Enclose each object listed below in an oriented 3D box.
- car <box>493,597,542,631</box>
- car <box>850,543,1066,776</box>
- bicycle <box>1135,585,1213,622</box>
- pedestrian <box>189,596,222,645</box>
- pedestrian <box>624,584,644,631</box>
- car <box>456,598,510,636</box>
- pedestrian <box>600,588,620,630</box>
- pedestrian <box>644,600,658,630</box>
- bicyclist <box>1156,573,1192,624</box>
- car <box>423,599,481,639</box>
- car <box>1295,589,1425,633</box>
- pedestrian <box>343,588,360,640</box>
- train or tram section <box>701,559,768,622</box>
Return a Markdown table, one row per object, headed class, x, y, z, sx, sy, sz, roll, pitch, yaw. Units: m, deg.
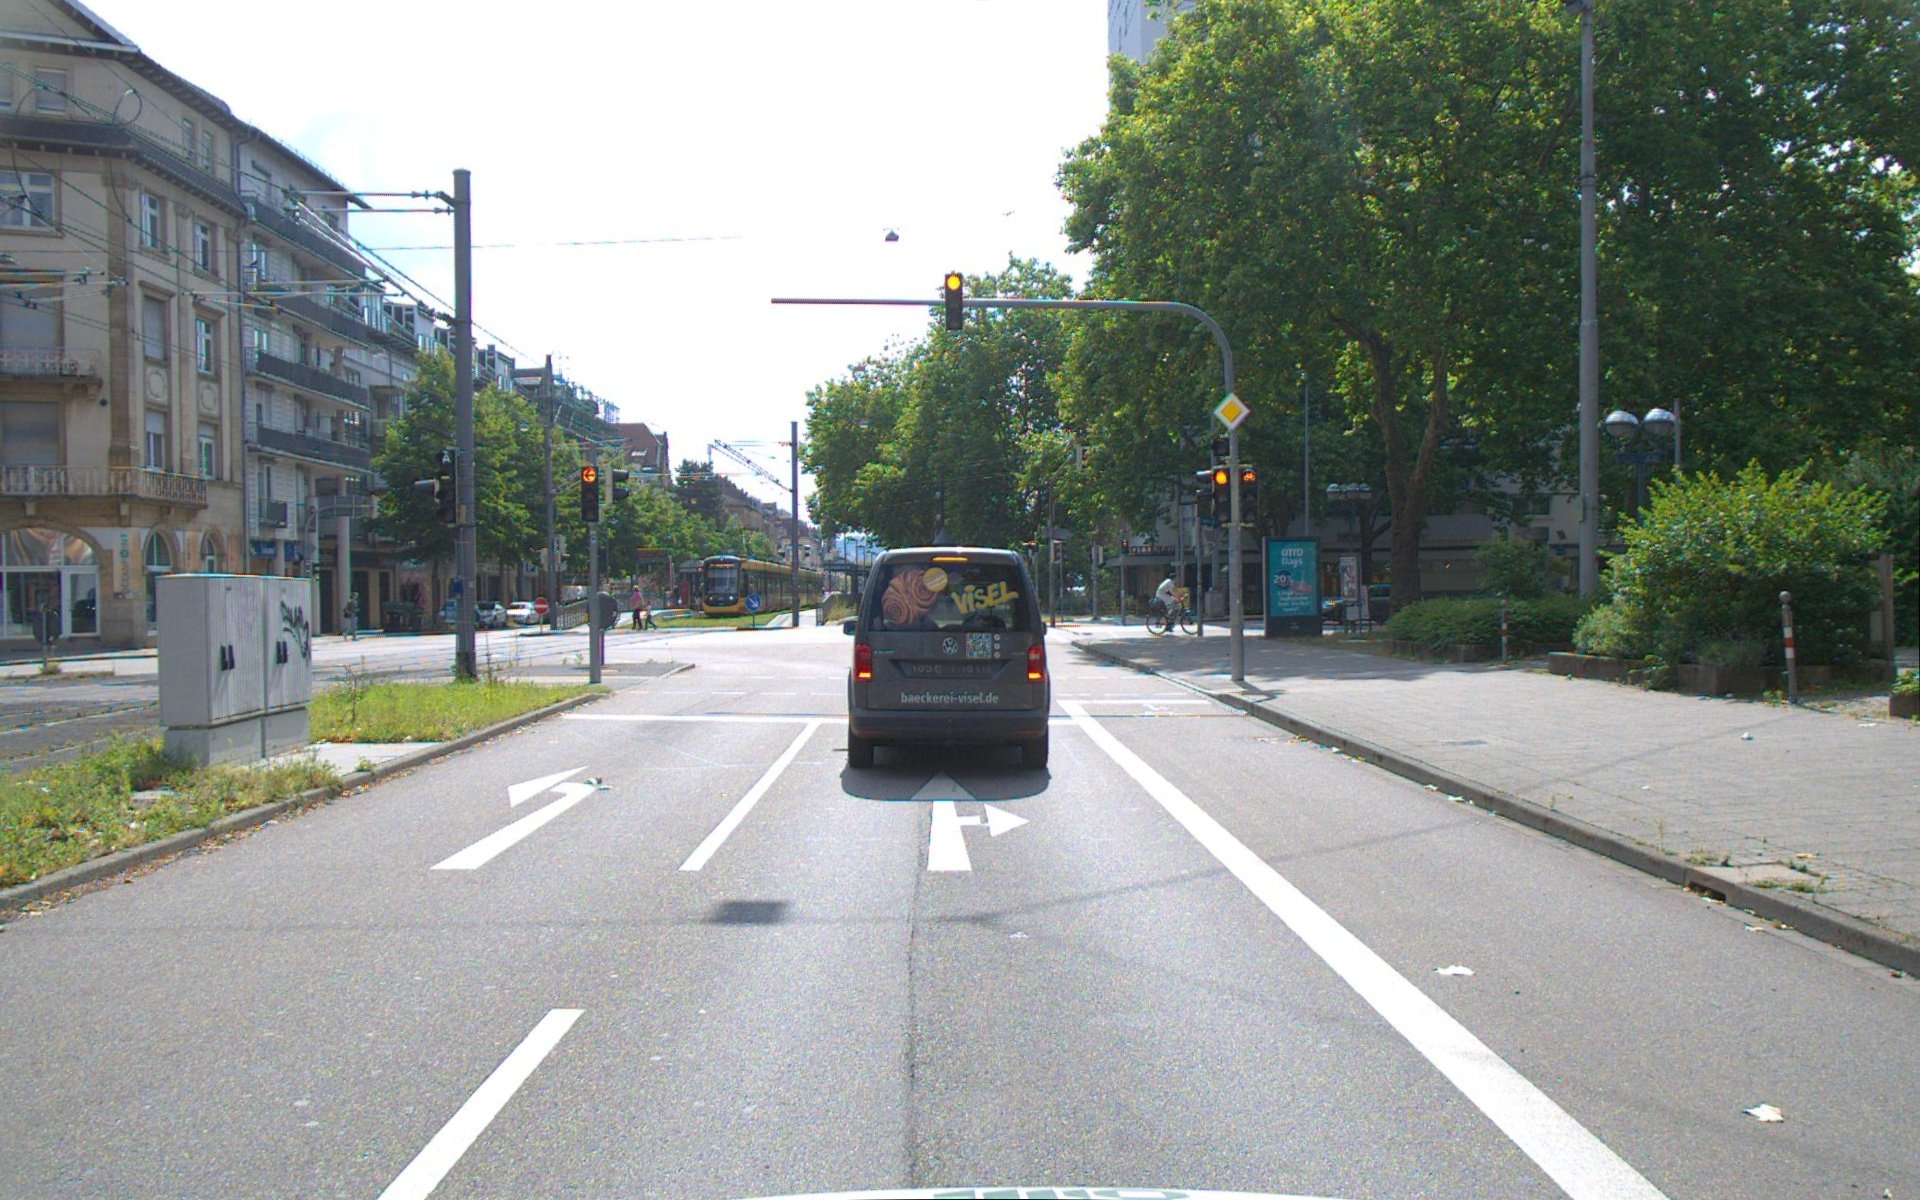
| class | x | y | z | sx | sy | sz | roll | pitch | yaw |
| --- | --- | --- | --- | --- | --- | --- | --- | --- | --- |
| car | -27.659 | 0.865 | 103.464 | 1.953 | 2.049 | 3.999 | -1 | 0 | -1 |
| car | -0.032 | 0.458 | 14.888 | 1.715 | 1.840 | 3.474 | 0 | 0 | -1 |
| bicycle | 6.578 | 0.110 | 50.953 | 2.255 | 1.066 | 0.897 | -1 | 0 | -1 |
| pedestrian | -25.387 | 0.678 | 55.655 | 0.677 | 1.623 | 0.862 | -1 | 0 | 0 |
| pedestrian | -12.796 | 0.293 | 64.931 | 0.646 | 1.815 | 0.660 | -1 | 0 | -1 |
| car | -27.338 | 0.953 | 94.962 | 1.953 | 2.049 | 3.999 | -1 | 0 | -1 |
| pedestrian | -14.249 | 0.367 | 67.355 | 0.646 | 1.714 | 0.655 | -1 | 0 | -1 |
| pedestrian | -12.187 | 0.574 | 65.309 | 0.454 | 1.164 | 0.435 | -1 | 0 | -1 |
| bicyclist | 6.588 | -0.042 | 50.983 | 0.977 | 1.538 | 0.780 | -1 | 0 | -2 |
| car | -27.663 | 0.995 | 90.233 | 1.953 | 2.049 | 3.999 | -1 | 0 | -1 |
| car | 14.246 | 0.374 | 58.918 | 4.423 | 1.414 | 1.693 | -2 | 0 | -25 |
| pedestrian | -23.908 | 0.553 | 64.986 | 0.468 | 2.049 | 0.419 | -1 | 0 | -6 |
| train or tram section | -13.091 | -0.595 | 97.044 | 2.195 | 3.389 | 12.969 | -1 | 1 | -1 |
